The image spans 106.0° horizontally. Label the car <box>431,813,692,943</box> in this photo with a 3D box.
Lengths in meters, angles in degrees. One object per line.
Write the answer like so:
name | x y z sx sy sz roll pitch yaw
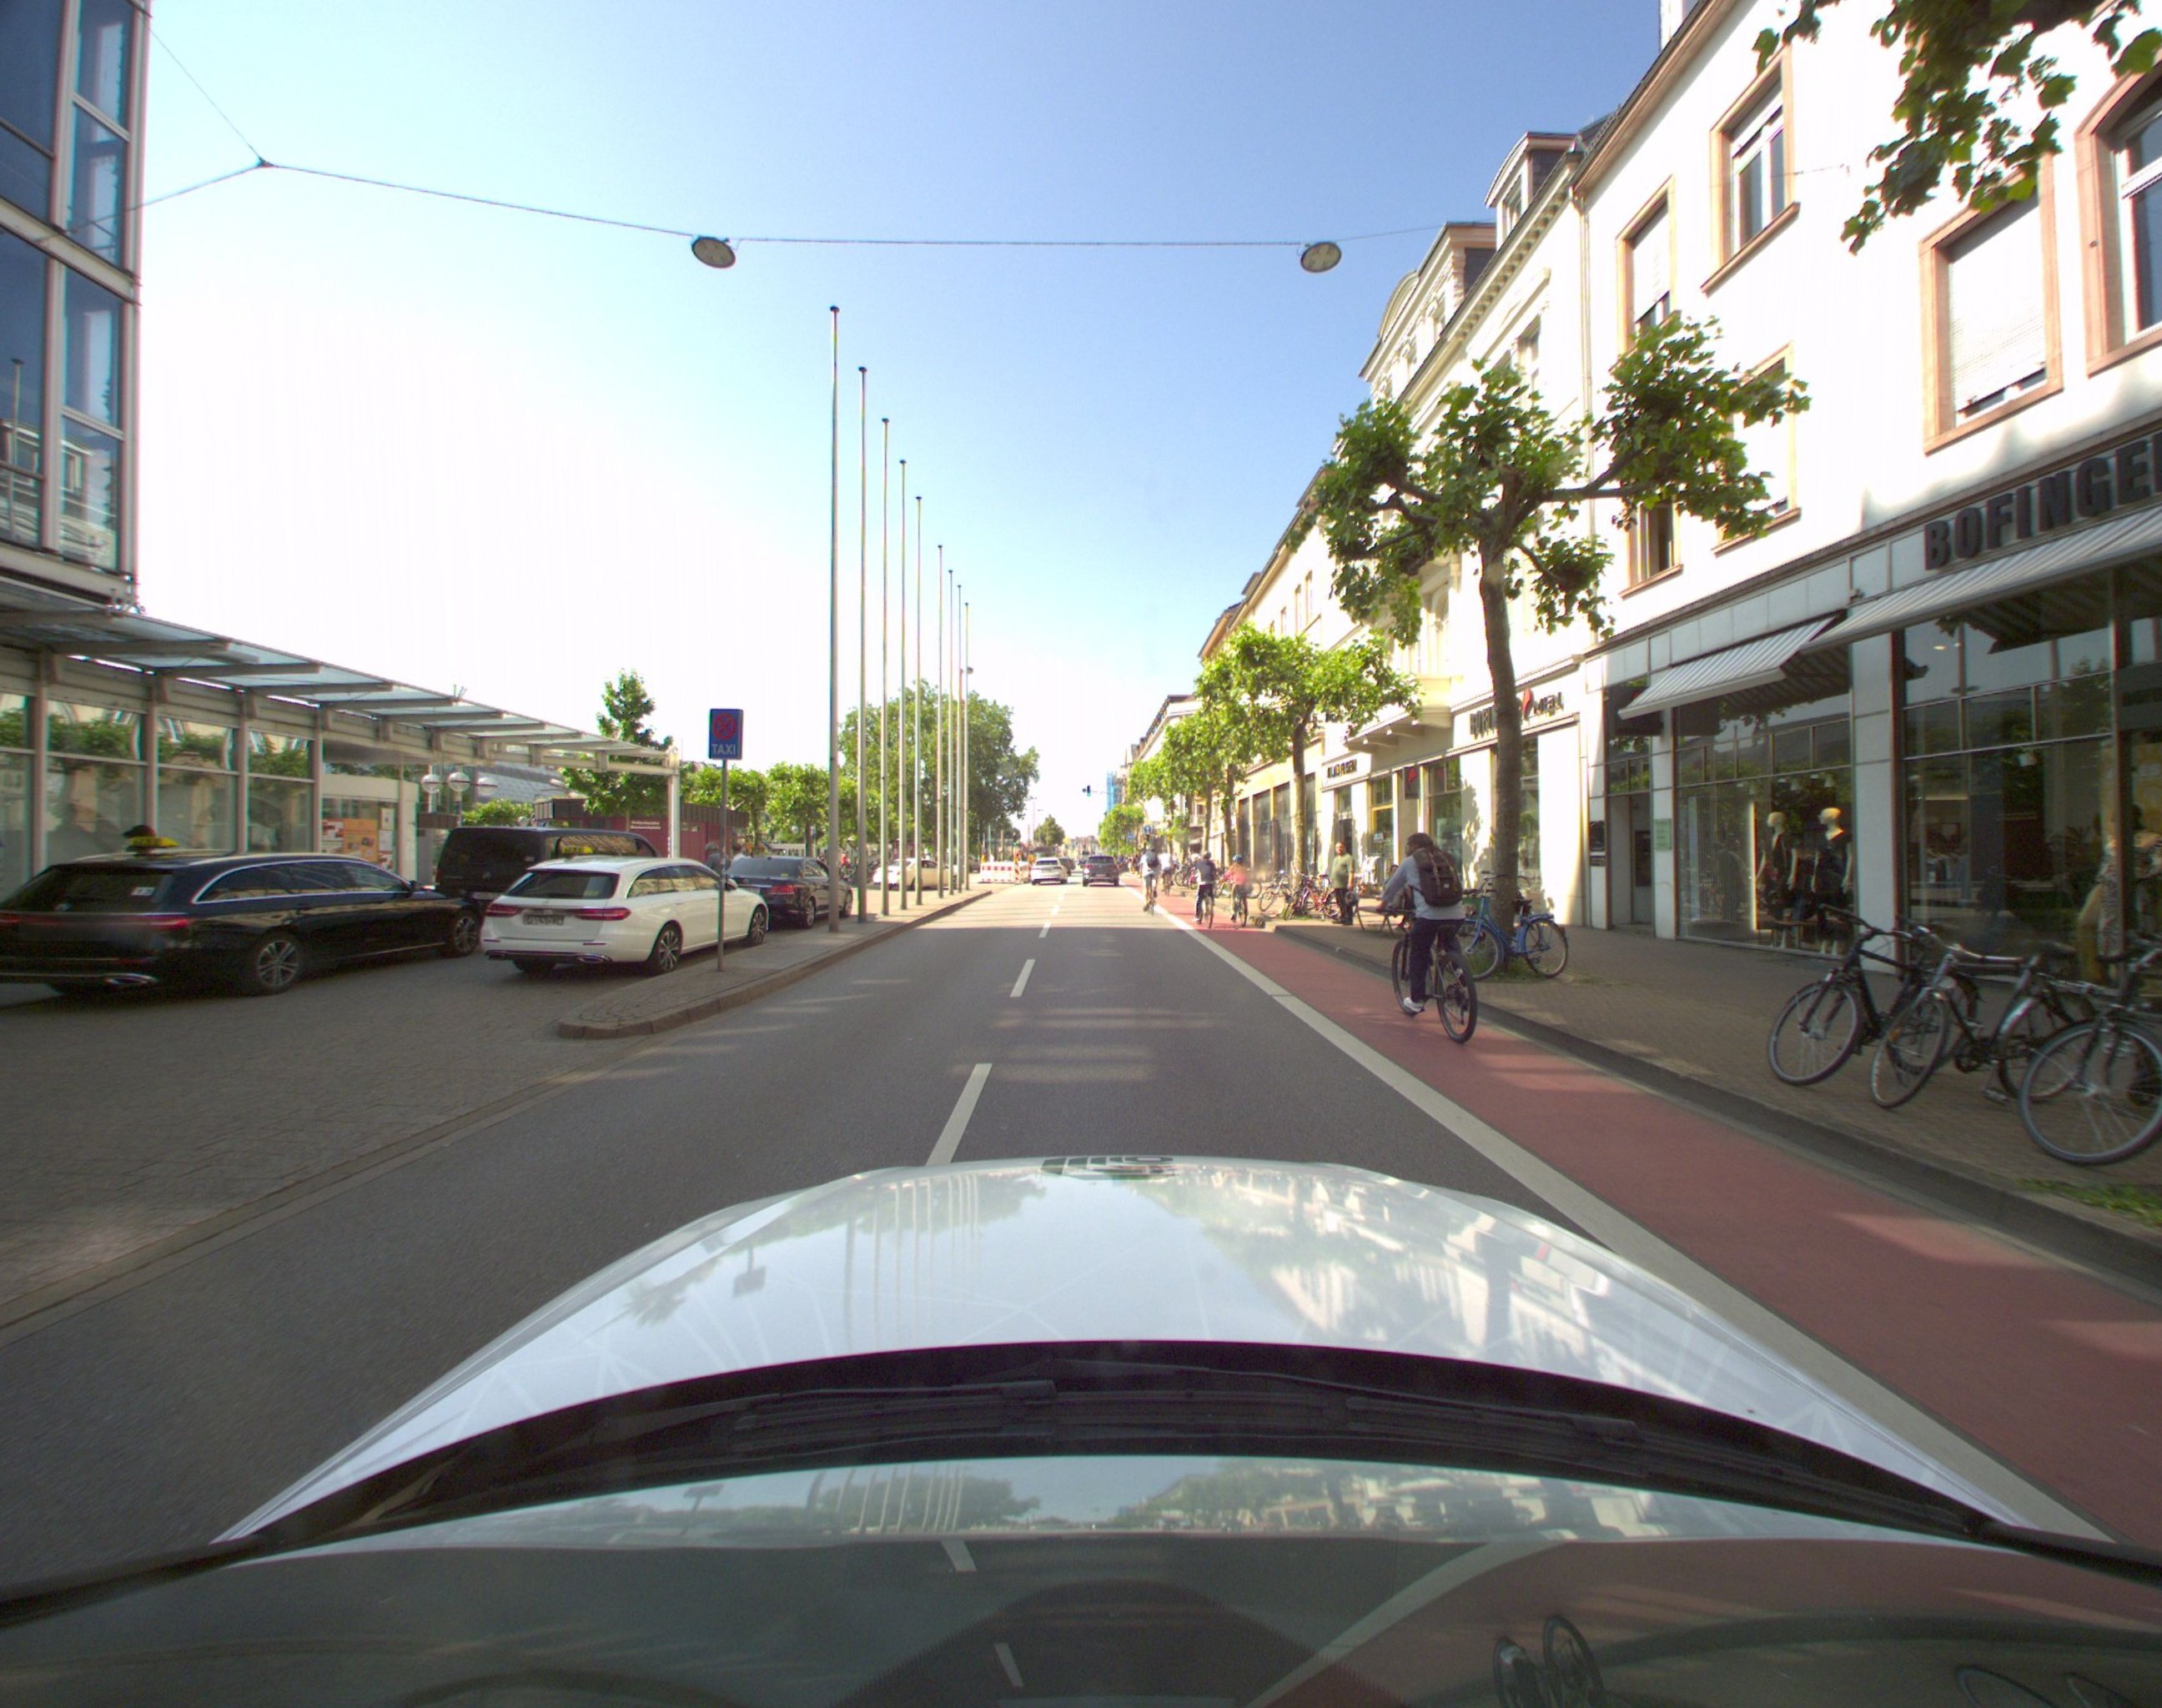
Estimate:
car | -9.262 0.376 15.110 1.826 2.013 4.685 0 0 0

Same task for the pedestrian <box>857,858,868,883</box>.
pedestrian | -15.513 1.190 57.783 0.573 1.739 0.607 1 -1 6

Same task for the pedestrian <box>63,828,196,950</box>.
pedestrian | -13.616 0.474 11.692 0.594 1.662 1.107 0 0 1

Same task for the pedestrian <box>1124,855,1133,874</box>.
pedestrian | 4.269 0.948 73.683 0.608 1.739 0.677 -5 -1 -2

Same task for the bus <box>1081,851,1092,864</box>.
bus | 1.450 0.982 236.453 2.986 3.594 11.739 0 -1 -1

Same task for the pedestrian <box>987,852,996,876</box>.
pedestrian | -6.679 0.768 60.665 0.537 1.779 0.607 1 -1 6

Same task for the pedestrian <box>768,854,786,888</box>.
pedestrian | -15.043 0.822 40.263 0.670 1.677 0.685 0 -1 -8

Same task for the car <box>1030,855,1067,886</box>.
car | -1.733 0.850 44.573 1.839 1.560 4.000 -1 0 0

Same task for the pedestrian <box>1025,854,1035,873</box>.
pedestrian | -4.270 0.791 68.163 0.627 1.595 0.690 -1 -1 21

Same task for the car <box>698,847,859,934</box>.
car | -6.250 0.673 17.473 1.756 1.600 4.707 0 0 -1

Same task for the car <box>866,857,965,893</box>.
car | -7.597 0.920 37.947 1.873 1.542 4.890 0 0 27

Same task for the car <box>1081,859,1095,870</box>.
car | 1.078 1.574 127.028 1.841 1.668 3.996 1 0 -3

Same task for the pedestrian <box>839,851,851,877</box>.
pedestrian | -16.846 0.705 58.102 0.666 1.879 0.625 2 -1 -34

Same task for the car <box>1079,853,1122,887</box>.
car | 0.902 0.756 40.501 1.841 1.559 3.996 -1 0 -2

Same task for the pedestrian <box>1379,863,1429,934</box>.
pedestrian | 5.746 0.791 14.509 0.637 1.233 0.596 0 -2 -3

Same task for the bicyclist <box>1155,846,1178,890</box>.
bicyclist | 3.259 0.530 31.191 0.772 1.635 0.851 -1 0 0

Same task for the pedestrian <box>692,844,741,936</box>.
pedestrian | -7.317 0.709 16.337 0.612 1.792 0.697 -1 0 39

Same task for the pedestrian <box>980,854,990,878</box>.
pedestrian | -7.049 0.900 59.935 0.543 1.718 0.600 2 -1 -31

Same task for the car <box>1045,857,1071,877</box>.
car | -1.676 0.943 61.166 1.840 1.449 3.998 -1 0 -1

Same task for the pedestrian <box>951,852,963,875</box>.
pedestrian | -9.902 0.777 65.005 0.627 1.859 0.690 -1 -1 21

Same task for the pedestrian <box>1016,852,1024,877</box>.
pedestrian | -4.832 0.842 64.680 0.530 1.919 0.560 0 -1 2

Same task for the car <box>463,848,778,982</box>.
car | -6.145 0.684 11.677 1.793 1.523 4.738 1 0 0

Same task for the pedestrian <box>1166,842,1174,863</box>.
pedestrian | 7.065 -0.149 64.349 0.546 1.640 0.589 -2 -1 3

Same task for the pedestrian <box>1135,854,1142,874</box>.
pedestrian | 4.604 0.802 65.463 0.520 1.521 0.642 -2 -1 3

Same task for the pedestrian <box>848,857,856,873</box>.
pedestrian | -18.472 0.869 65.669 0.611 1.262 0.608 0 -1 -22

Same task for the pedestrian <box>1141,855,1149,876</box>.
pedestrian | 4.970 0.906 63.071 0.546 1.631 0.589 -2 -1 3

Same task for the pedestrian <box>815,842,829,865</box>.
pedestrian | -19.748 -0.055 62.013 0.598 1.749 0.808 -1 -2 31

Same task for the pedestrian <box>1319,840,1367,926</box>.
pedestrian | 5.347 0.574 16.646 0.637 1.689 0.842 2 0 -3

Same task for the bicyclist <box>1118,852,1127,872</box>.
bicyclist | 3.294 0.634 65.092 0.645 1.551 0.817 0 -1 -1

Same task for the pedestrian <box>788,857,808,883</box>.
pedestrian | -15.048 0.838 43.319 0.667 1.381 0.899 0 0 9

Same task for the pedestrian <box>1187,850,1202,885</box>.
pedestrian | 5.308 0.637 38.058 0.613 1.612 0.745 0 -1 1

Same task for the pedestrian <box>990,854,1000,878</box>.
pedestrian | -6.308 0.886 59.727 0.432 1.740 0.600 2 -1 -31

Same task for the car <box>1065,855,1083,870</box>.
car | -0.739 0.851 85.636 1.840 1.560 3.998 0 0 -1

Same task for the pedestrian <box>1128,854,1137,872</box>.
pedestrian | 4.483 0.791 70.740 0.608 1.515 0.677 -5 -1 -2

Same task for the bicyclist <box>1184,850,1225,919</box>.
bicyclist | 2.624 0.636 17.386 0.697 1.441 0.789 1 -1 -4

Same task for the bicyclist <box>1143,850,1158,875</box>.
bicyclist | 5.075 0.653 59.616 0.578 1.797 0.848 -2 0 -35

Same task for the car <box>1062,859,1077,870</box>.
car | -1.444 1.328 103.422 1.840 1.413 3.998 0 0 -1

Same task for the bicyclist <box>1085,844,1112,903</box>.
bicyclist | 0.444 0.498 21.084 0.628 1.481 1.197 0 -1 -1

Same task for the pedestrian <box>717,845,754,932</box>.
pedestrian | -7.309 0.714 17.228 0.526 1.792 0.542 -1 -1 39

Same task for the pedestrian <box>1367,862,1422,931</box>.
pedestrian | 5.765 0.780 15.014 0.785 1.243 0.575 0 -2 -3

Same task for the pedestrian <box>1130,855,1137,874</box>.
pedestrian | 5.066 1.029 78.208 0.608 1.824 0.677 0 -1 -2

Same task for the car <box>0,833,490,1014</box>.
car | -9.386 0.639 9.485 1.990 1.610 4.393 1 0 -5

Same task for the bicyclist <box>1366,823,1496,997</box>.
bicyclist | 3.090 0.472 7.268 0.697 1.446 0.959 1 -1 -4

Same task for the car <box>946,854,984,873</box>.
car | -12.091 0.980 84.952 1.843 1.955 4.785 -1 -1 21

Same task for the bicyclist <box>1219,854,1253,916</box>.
bicyclist | 3.433 0.674 18.081 0.599 1.357 0.720 0 0 -3

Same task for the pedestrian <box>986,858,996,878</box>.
pedestrian | -8.178 1.256 73.826 0.627 1.810 0.734 -1 -1 21
